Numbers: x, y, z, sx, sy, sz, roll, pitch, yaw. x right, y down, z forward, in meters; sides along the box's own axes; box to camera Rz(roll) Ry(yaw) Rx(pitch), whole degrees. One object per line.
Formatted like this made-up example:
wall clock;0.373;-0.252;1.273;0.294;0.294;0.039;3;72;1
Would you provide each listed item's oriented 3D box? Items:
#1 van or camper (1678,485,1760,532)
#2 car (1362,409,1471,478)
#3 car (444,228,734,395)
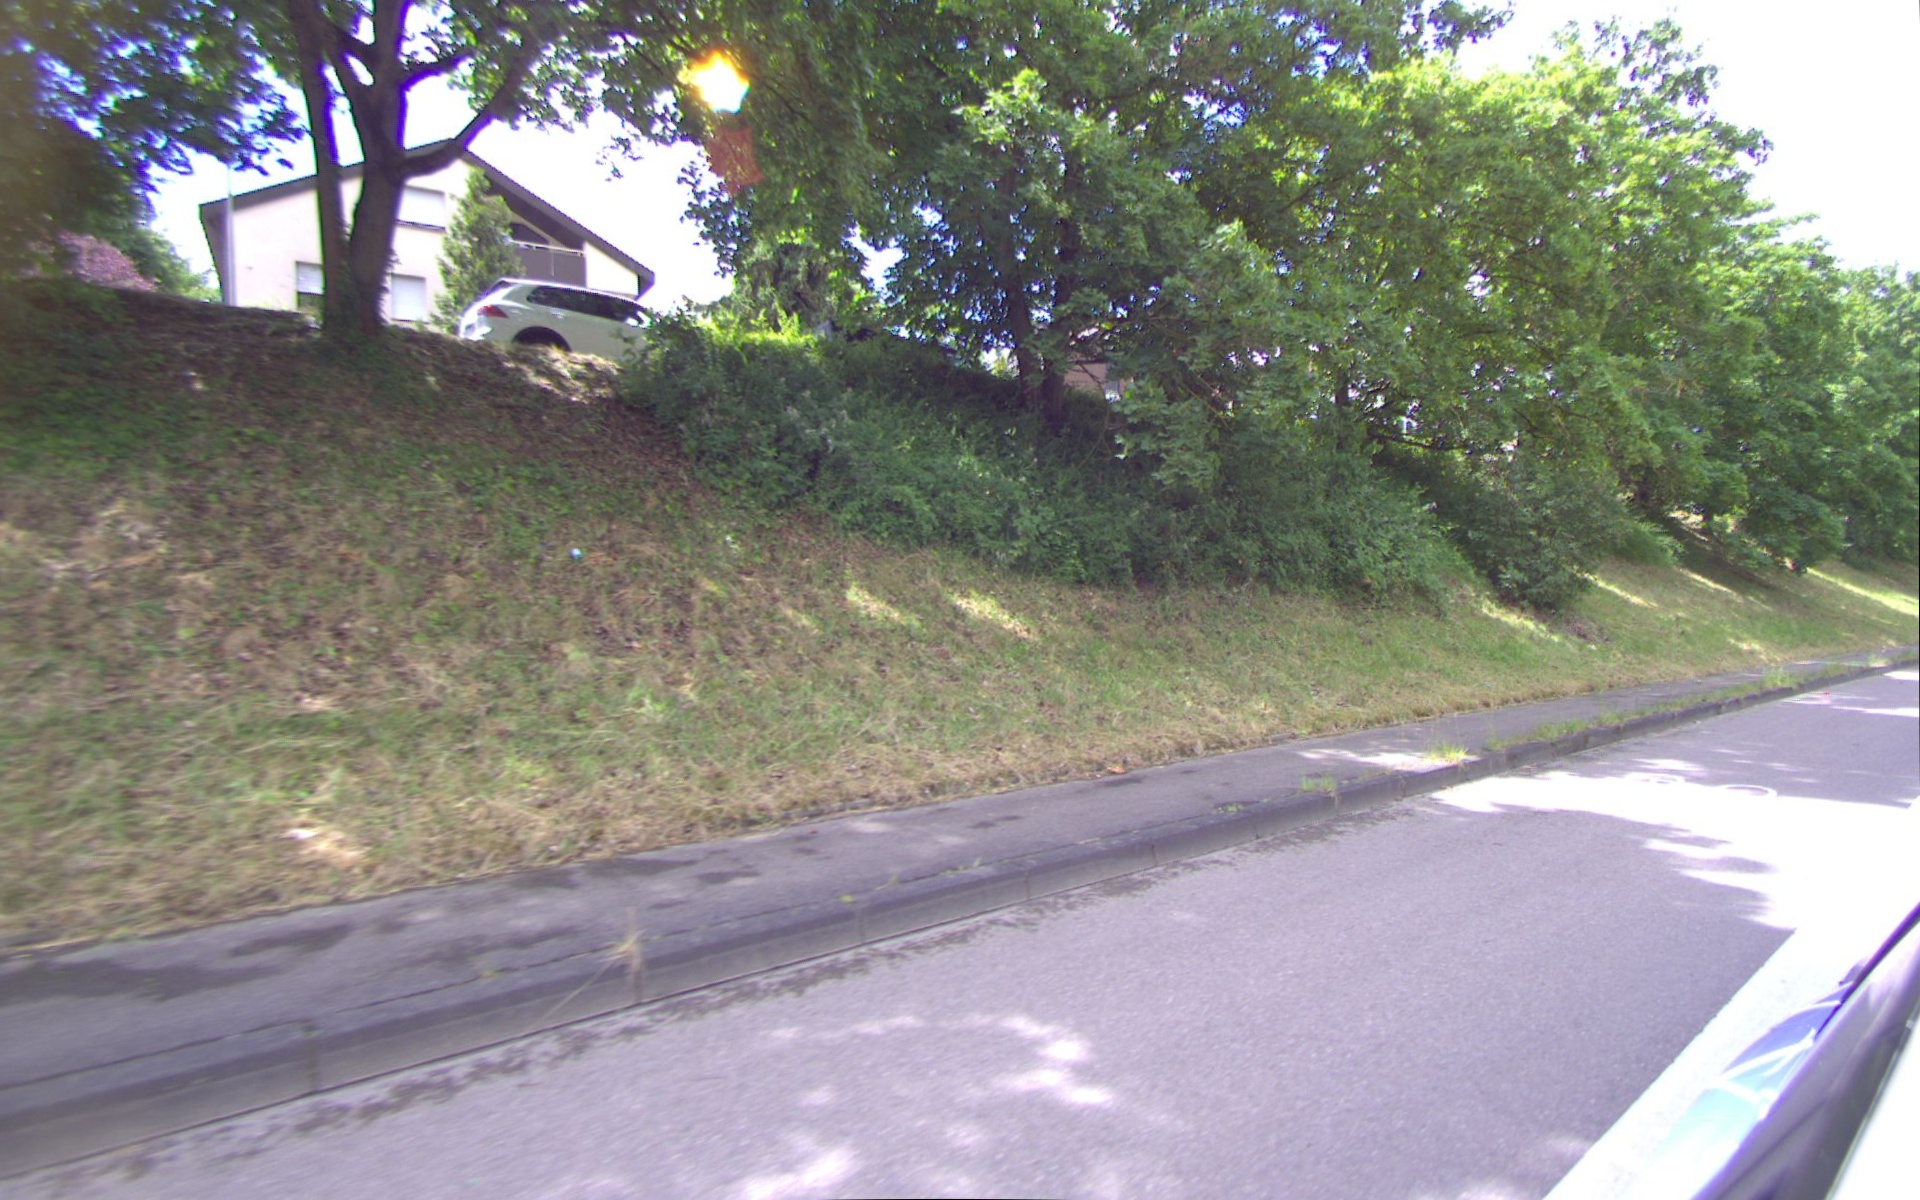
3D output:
van or camper;40.953;-4.872;54.568;6.053;2.095;2.221;0;1;-40
car;15.013;-5.074;33.213;3.971;1.708;1.648;0;0;-39
car;-5.730;-4.369;15.887;3.929;1.517;1.776;0;0;-43
